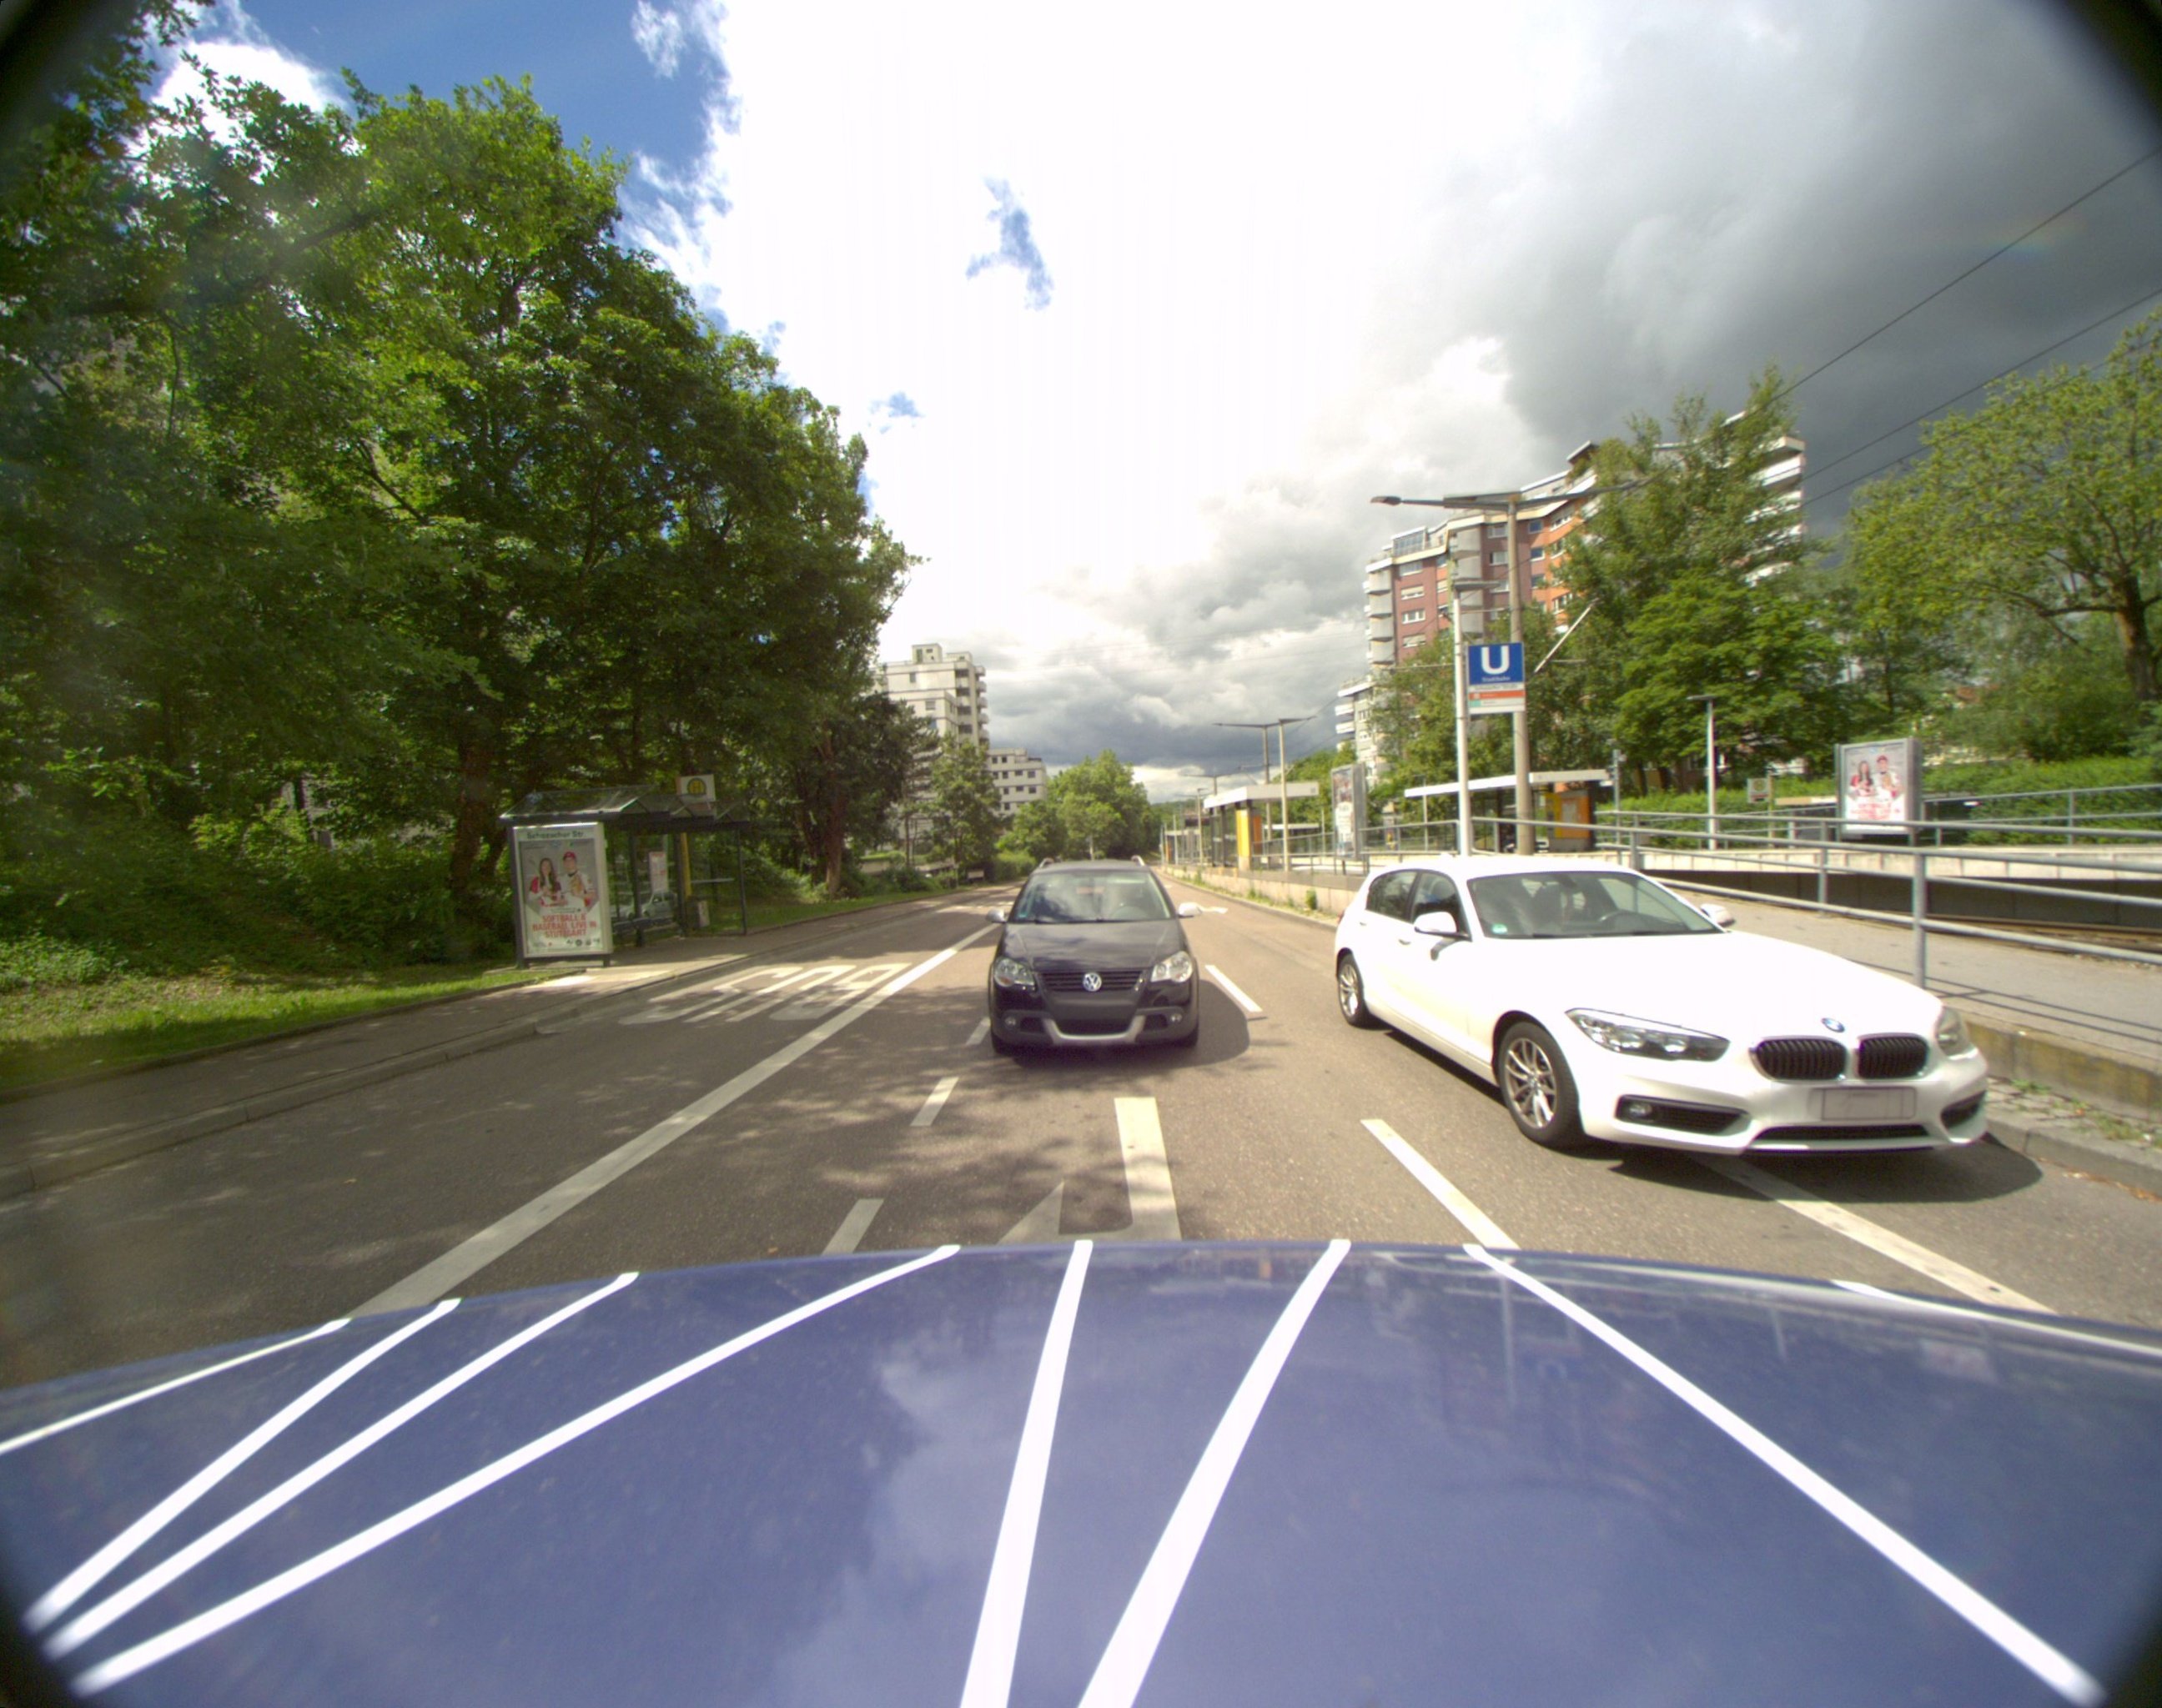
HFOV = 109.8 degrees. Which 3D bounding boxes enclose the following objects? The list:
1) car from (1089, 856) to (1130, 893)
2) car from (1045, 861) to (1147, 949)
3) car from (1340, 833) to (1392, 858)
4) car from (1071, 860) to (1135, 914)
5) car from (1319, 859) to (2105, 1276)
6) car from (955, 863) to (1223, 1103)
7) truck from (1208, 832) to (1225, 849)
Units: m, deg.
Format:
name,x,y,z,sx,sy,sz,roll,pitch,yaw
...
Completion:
name,x,y,z,sx,sy,sz,roll,pitch,yaw
car,1.280,0.900,35.526,1.732,1.505,4.000,-2,1,1
car,0.296,0.909,15.351,1.732,1.453,4.000,-2,0,1
car,19.543,-0.563,52.299,1.998,1.625,4.460,-1,0,2
car,0.720,0.940,23.228,1.732,1.452,4.001,-2,0,3
car,3.020,0.830,4.877,1.732,1.453,4.000,-2,1,1
car,0.085,0.891,7.079,1.732,1.501,4.000,-2,0,1
truck,28.734,-2.837,161.302,2.420,3.203,7.263,-2,0,1
